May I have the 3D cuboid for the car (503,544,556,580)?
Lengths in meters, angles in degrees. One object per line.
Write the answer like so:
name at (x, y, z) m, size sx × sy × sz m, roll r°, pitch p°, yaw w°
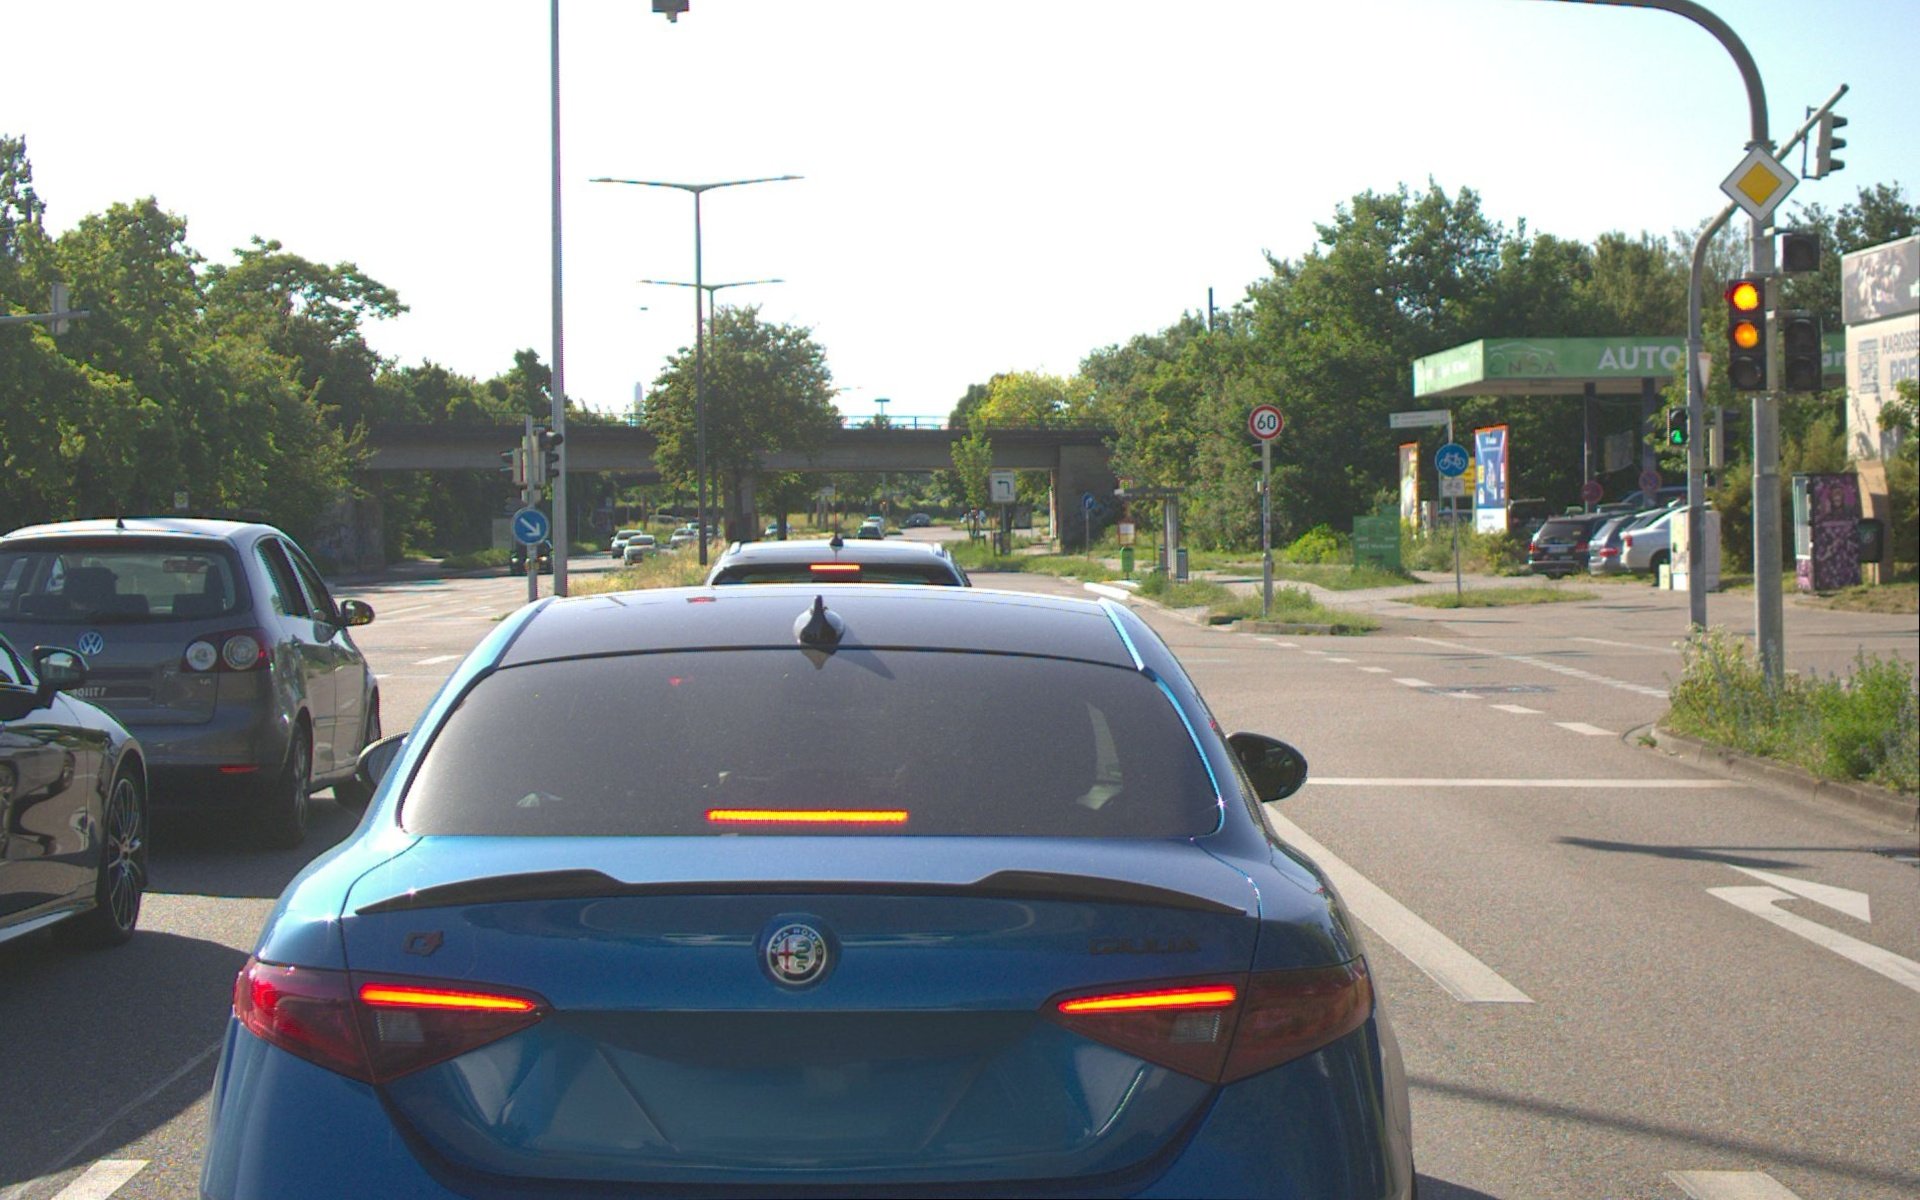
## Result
car at (-18.894, -1.662, 151.120) m, size 1.759 × 1.485 × 4.478 m, roll -2°, pitch 1°, yaw 0°

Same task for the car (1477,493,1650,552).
car at (17.053, -2.194, 97.320) m, size 4.551 × 1.485 × 1.765 m, roll -2°, pitch 1°, yaw 1°

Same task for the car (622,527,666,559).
car at (-15.487, -2.805, 168.530) m, size 1.759 × 1.485 × 3.837 m, roll -2°, pitch 1°, yaw 0°

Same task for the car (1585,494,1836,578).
car at (14.665, -1.247, 67.353) m, size 4.489 × 1.449 × 1.858 m, roll -2°, pitch 1°, yaw 1°

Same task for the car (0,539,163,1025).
car at (-3.828, 0.543, 10.623) m, size 1.796 × 1.485 × 4.476 m, roll 1°, pitch 1°, yaw -2°

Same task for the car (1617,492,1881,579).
car at (14.781, -1.209, 64.574) m, size 4.489 × 1.449 × 1.858 m, roll -2°, pitch 1°, yaw 1°

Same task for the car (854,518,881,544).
car at (-6.638, -4.974, 247.130) m, size 1.891 × 1.809 × 4.000 m, roll 1°, pitch 1°, yaw -1°

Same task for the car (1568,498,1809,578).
car at (14.822, -1.264, 70.107) m, size 4.489 × 1.449 × 1.858 m, roll -2°, pitch 1°, yaw 1°

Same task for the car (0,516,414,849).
car at (-3.992, 0.349, 17.723) m, size 1.759 × 1.485 × 4.403 m, roll 1°, pitch 1°, yaw -2°

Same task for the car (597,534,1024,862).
car at (-0.716, 0.407, 17.246) m, size 1.850 × 1.413 × 4.403 m, roll 1°, pitch 1°, yaw -2°

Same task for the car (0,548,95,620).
car at (-20.656, -0.352, 76.204) m, size 1.759 × 1.485 × 4.478 m, roll -4°, pitch 1°, yaw 0°

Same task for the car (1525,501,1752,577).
car at (14.602, -1.312, 74.157) m, size 4.489 × 1.449 × 1.858 m, roll -2°, pitch 1°, yaw 1°

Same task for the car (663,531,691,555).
car at (-19.082, -3.860, 232.113) m, size 1.615 × 1.554 × 3.358 m, roll 1°, pitch 1°, yaw -1°

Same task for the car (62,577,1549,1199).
car at (-0.262, 0.684, 6.613) m, size 1.895 × 1.413 × 4.403 m, roll 1°, pitch 1°, yaw -2°
